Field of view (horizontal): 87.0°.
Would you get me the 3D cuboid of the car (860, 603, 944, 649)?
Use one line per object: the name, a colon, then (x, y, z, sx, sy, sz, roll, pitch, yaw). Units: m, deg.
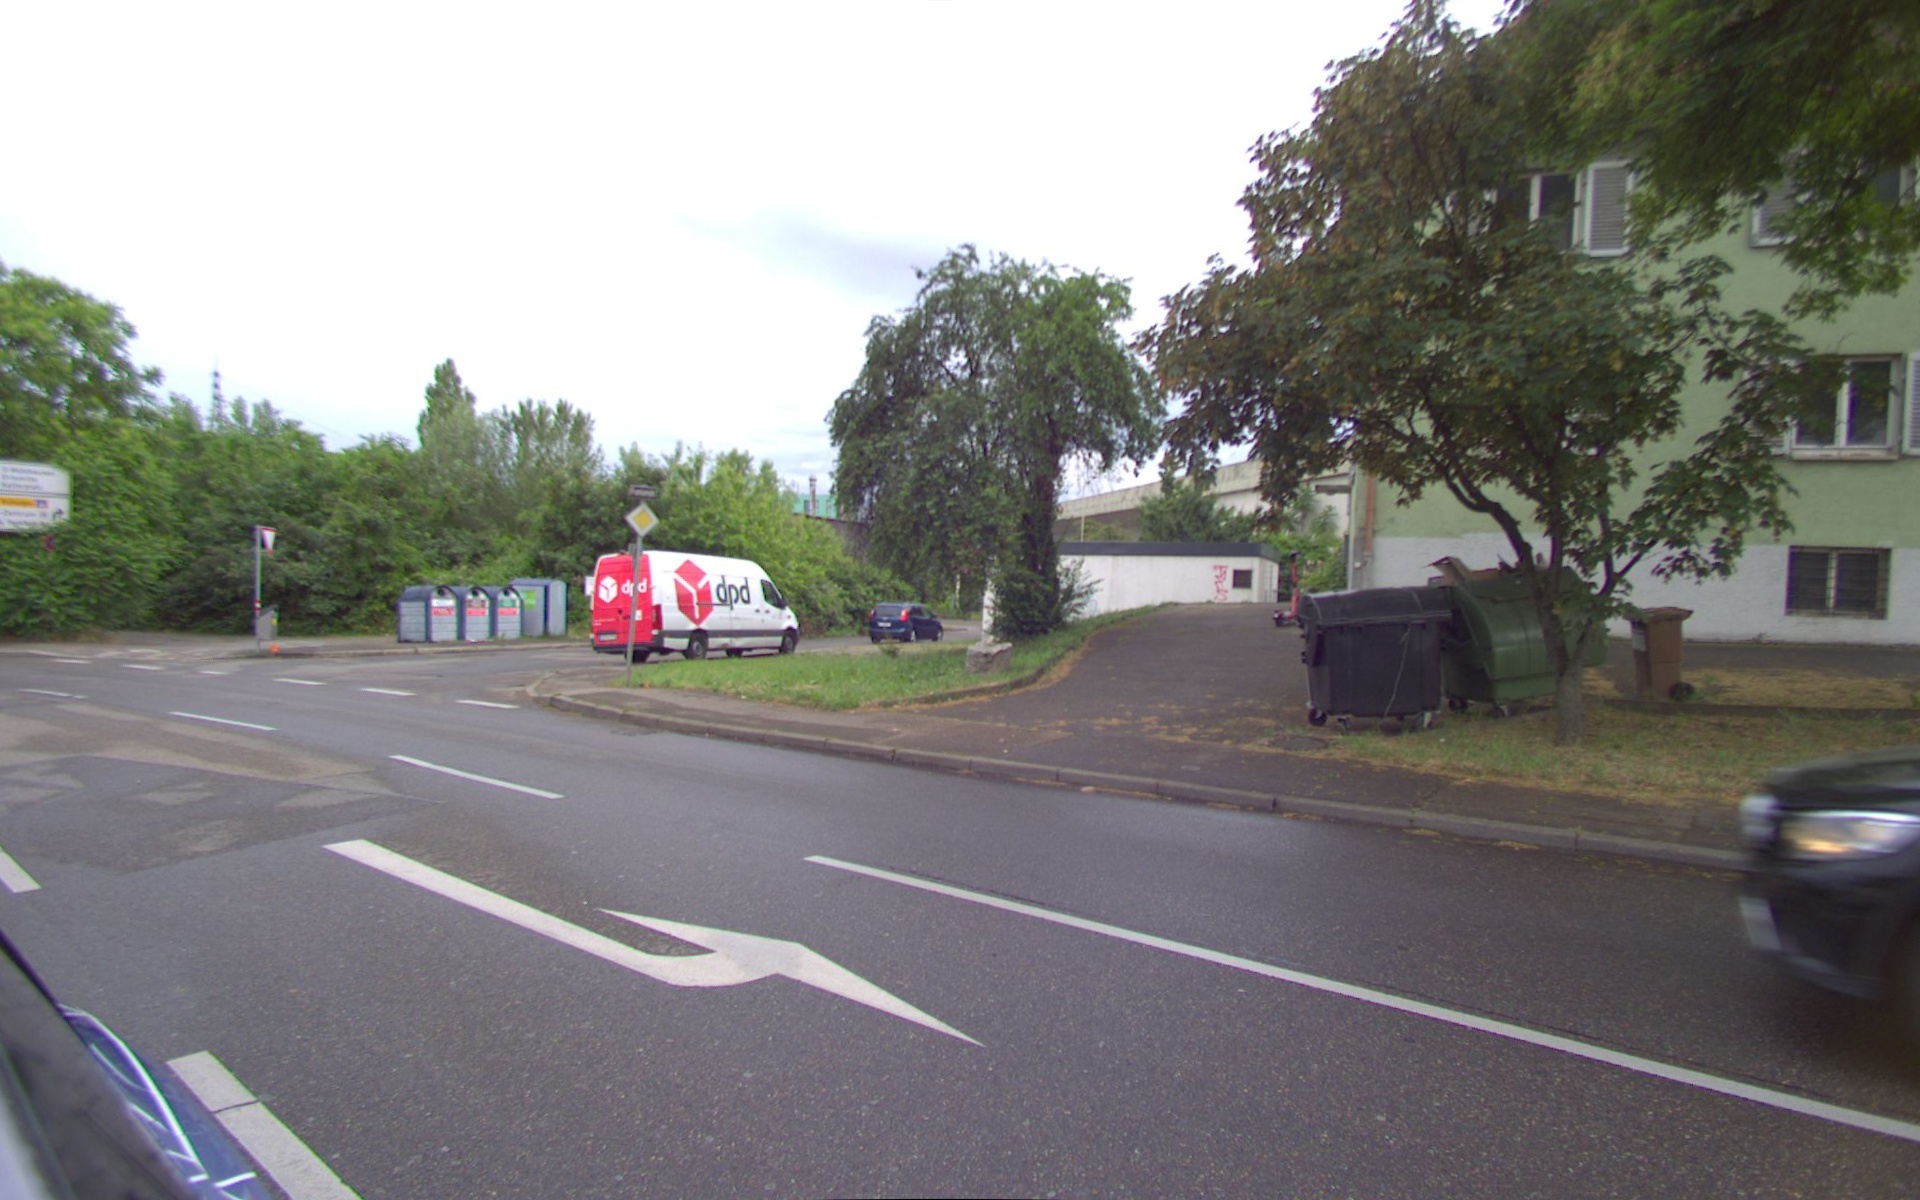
car: (-2.234, 0.985, 40.398, 1.984, 1.642, 4.228, 1, 1, 18)

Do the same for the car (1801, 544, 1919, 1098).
car: (4.914, 0.641, 2.409, 4.433, 1.638, 1.894, -1, -1, 42)

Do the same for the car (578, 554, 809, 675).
car: (-6.514, 0.293, 25.907, 2.246, 2.675, 6.777, 1, 0, 20)

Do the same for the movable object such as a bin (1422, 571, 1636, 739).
movable object such as a bin: (5.702, 0.508, 10.221, 1.440, 1.448, 1.102, -5, 3, -6)

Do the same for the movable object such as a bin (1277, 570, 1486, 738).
movable object such as a bin: (4.246, 0.498, 10.330, 1.440, 1.448, 1.296, -5, 3, -6)

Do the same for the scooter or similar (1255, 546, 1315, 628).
scooter or similar: (5.522, -0.246, 17.136, 0.529, 1.283, 1.507, 1, 4, 35)

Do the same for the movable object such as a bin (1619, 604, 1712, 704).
movable object such as a bin: (7.203, 0.530, 10.336, 0.723, 0.964, 0.551, 1, 0, 41)
